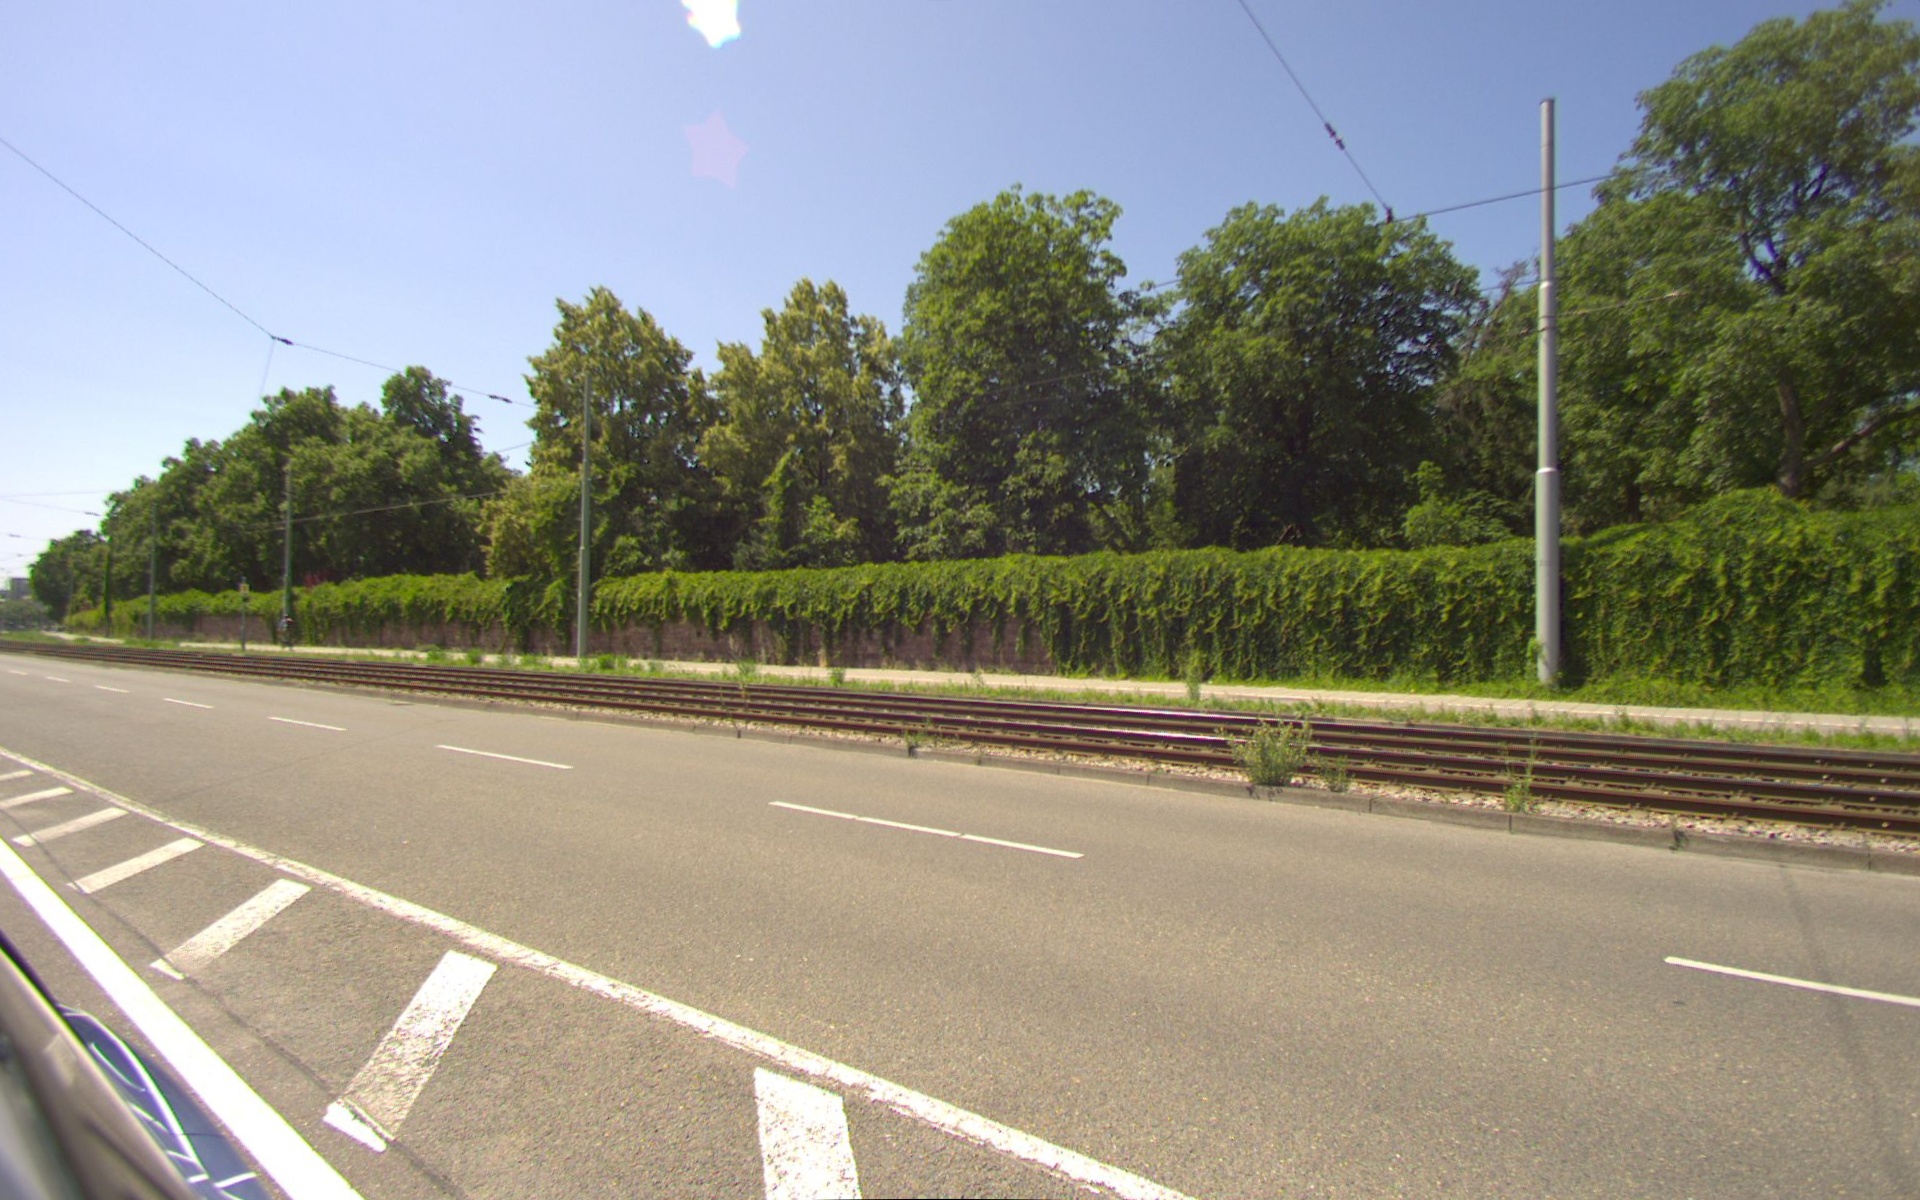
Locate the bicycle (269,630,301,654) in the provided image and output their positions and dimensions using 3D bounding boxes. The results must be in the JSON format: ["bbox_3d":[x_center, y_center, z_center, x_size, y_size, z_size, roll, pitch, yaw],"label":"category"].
[{"bbox_3d":[-33.983,2.112,50.921,2.686,1.165,0.819,-2,-2,45],"label":"bicycle"}]

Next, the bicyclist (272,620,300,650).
[{"bbox_3d":[-33.823,1.758,50.776,1.000,1.497,0.983,-2,-2,44],"label":"bicyclist"}]
